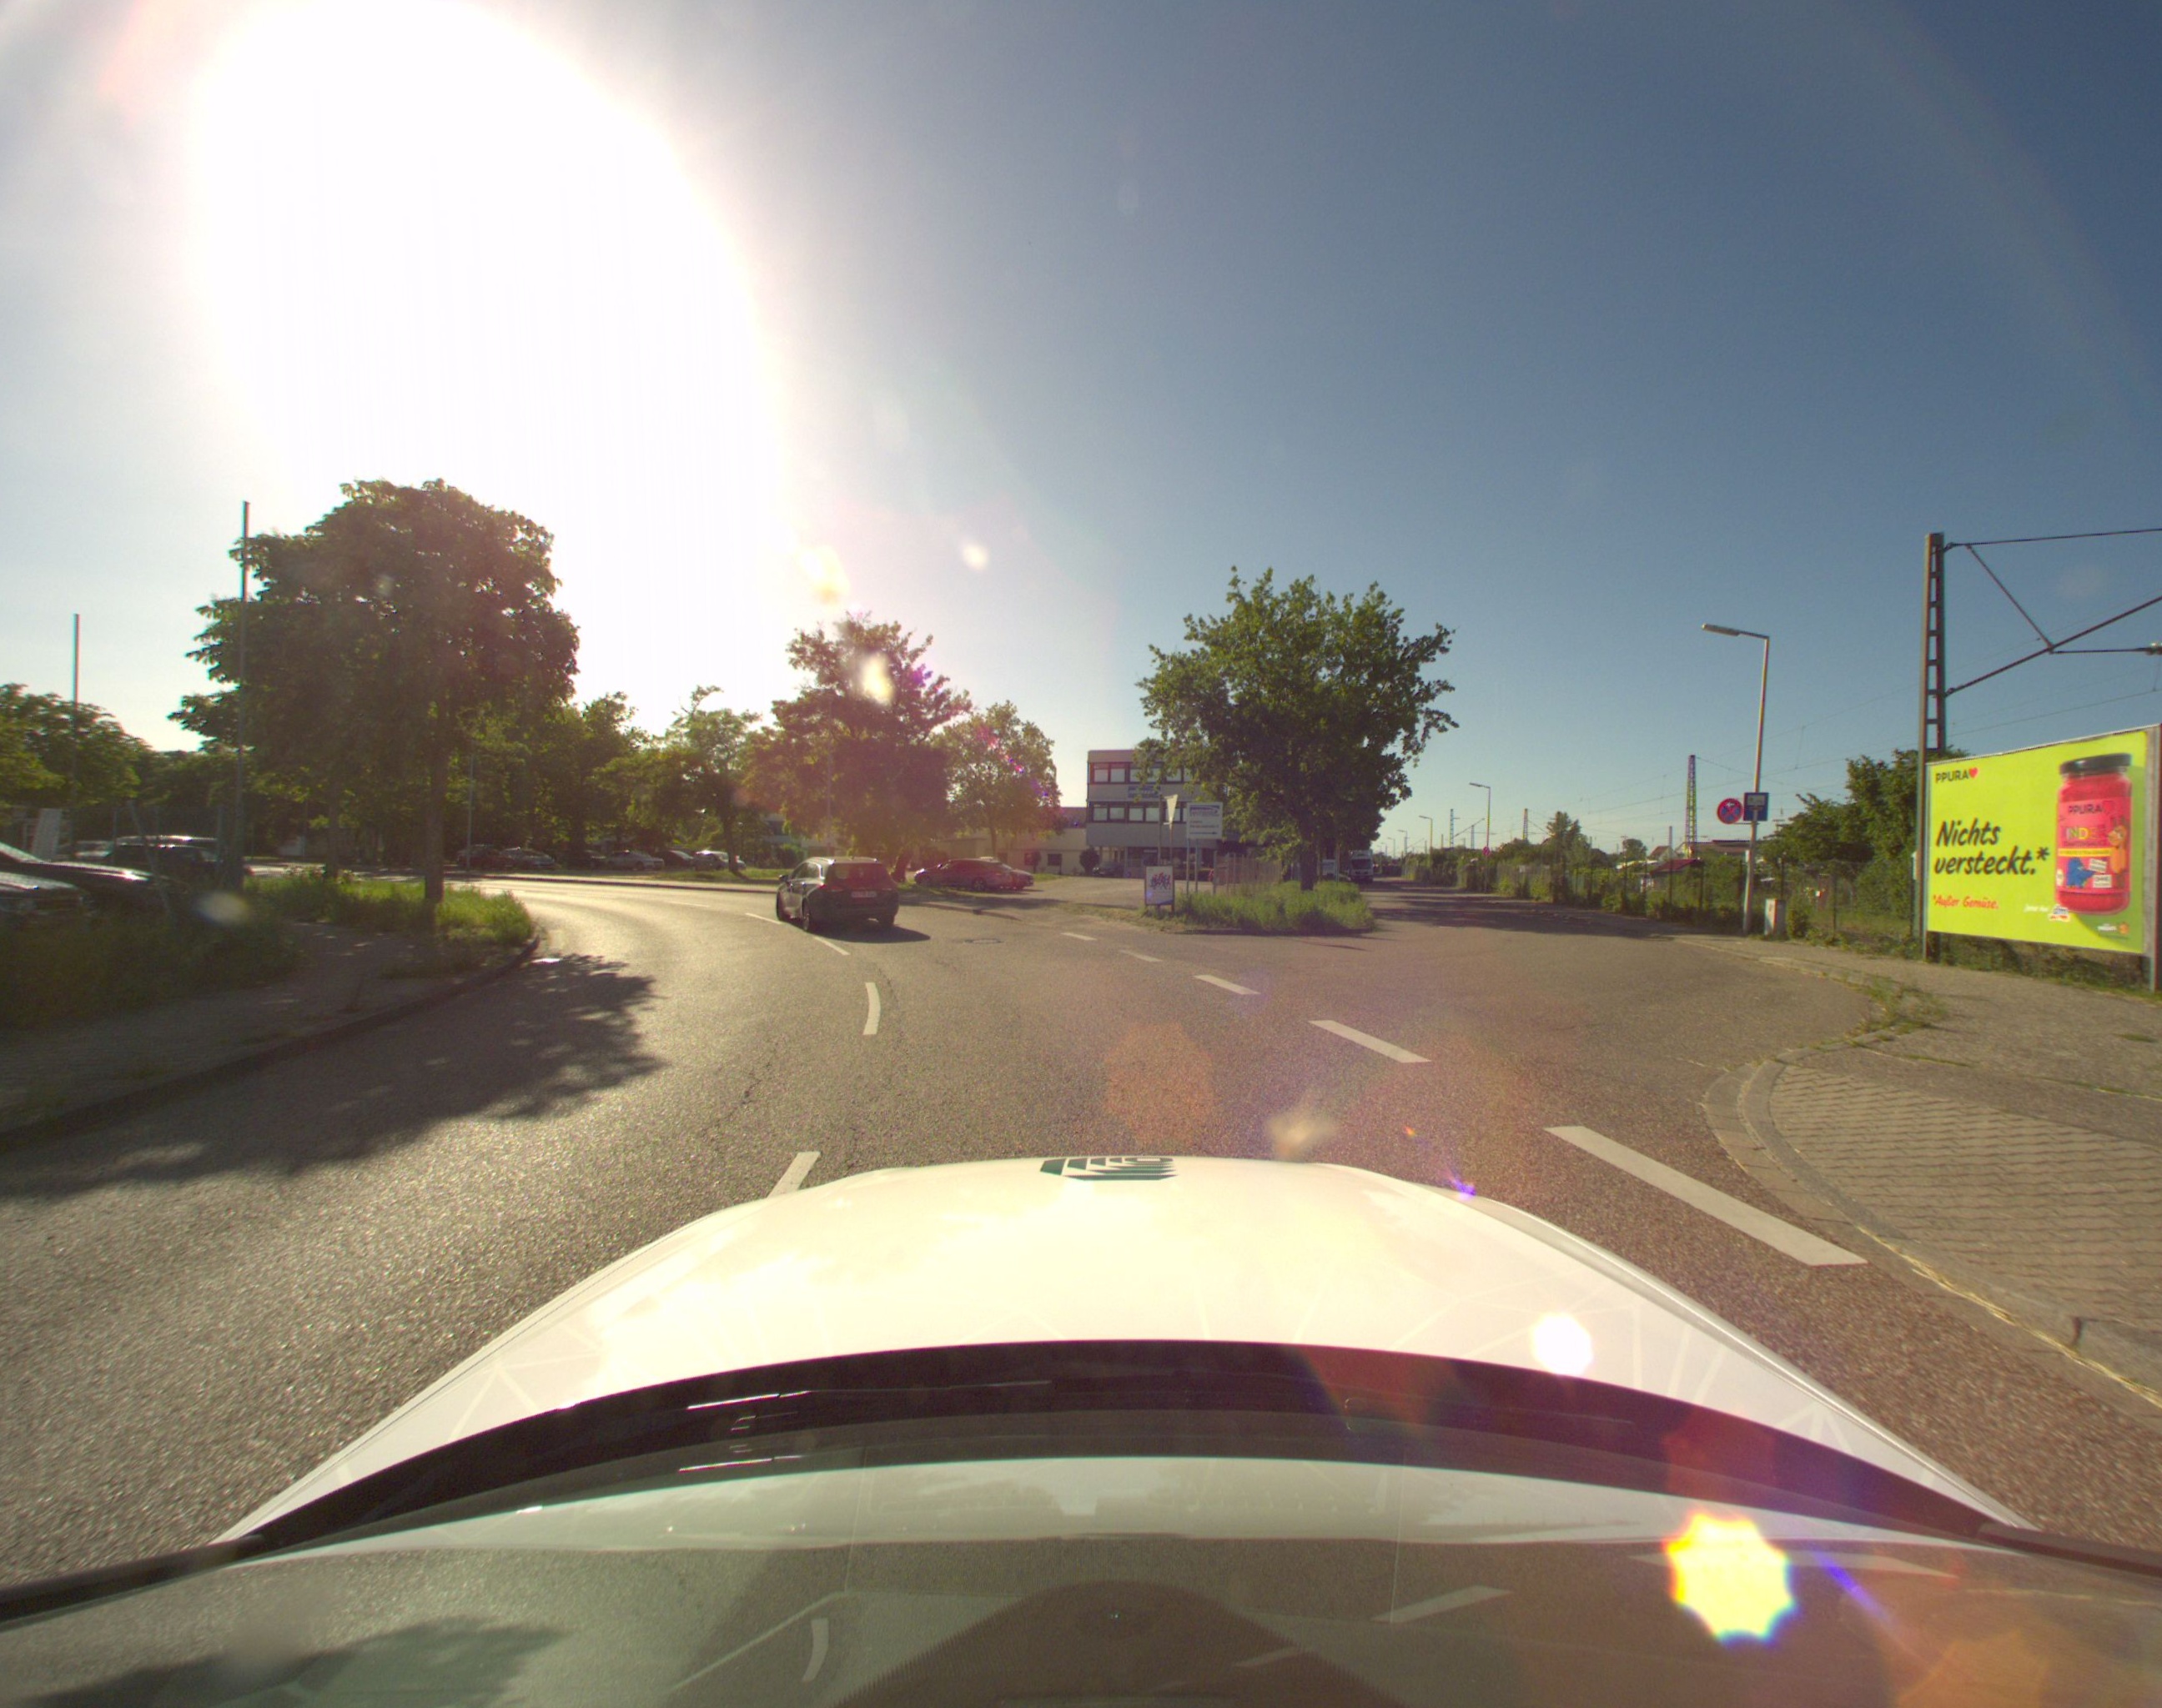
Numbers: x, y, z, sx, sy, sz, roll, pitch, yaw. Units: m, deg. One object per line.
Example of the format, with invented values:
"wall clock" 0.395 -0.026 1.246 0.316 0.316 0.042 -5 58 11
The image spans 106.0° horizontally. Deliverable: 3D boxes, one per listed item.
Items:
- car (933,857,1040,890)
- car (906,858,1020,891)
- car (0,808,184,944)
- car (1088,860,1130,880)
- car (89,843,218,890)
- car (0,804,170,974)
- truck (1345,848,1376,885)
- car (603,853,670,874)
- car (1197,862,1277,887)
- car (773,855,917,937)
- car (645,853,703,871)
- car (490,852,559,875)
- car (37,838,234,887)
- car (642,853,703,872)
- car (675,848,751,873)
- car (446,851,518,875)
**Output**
"car" -4.723 0.951 40.850 4.872 1.484 2.009 1 -1 17
"car" -5.538 0.944 38.365 4.872 1.426 2.009 1 -1 17
"car" -14.248 0.245 9.767 1.817 1.648 4.431 1 -1 34
"car" 2.434 1.327 69.045 1.977 1.484 4.952 1 0 21
"car" -31.204 0.397 27.552 1.848 1.436 4.356 2 -1 -35
"car" -12.237 0.302 7.743 4.423 1.649 1.820 1 -1 -36
"truck" 32.172 1.475 94.152 2.593 3.885 13.588 2 0 16
"car" -32.984 0.682 60.452 4.864 1.484 2.012 1 -1 28
"car" 10.410 1.360 54.370 4.868 1.484 2.011 1 0 22
"car" -5.231 0.784 17.639 1.955 1.488 4.521 0 1 -30
"car" -35.279 0.662 70.495 4.864 1.484 2.012 1 -1 28
"car" -39.687 0.664 58.066 4.864 1.484 2.012 1 -1 28
"car" -33.996 0.300 29.510 1.827 1.610 4.405 1 0 2
"car" -33.579 0.702 66.905 4.864 1.484 2.012 1 -1 28
"car" -24.292 0.423 53.729 4.864 1.484 2.012 1 -1 28
"car" -40.693 0.596 55.286 4.864 1.484 2.012 1 -1 28
